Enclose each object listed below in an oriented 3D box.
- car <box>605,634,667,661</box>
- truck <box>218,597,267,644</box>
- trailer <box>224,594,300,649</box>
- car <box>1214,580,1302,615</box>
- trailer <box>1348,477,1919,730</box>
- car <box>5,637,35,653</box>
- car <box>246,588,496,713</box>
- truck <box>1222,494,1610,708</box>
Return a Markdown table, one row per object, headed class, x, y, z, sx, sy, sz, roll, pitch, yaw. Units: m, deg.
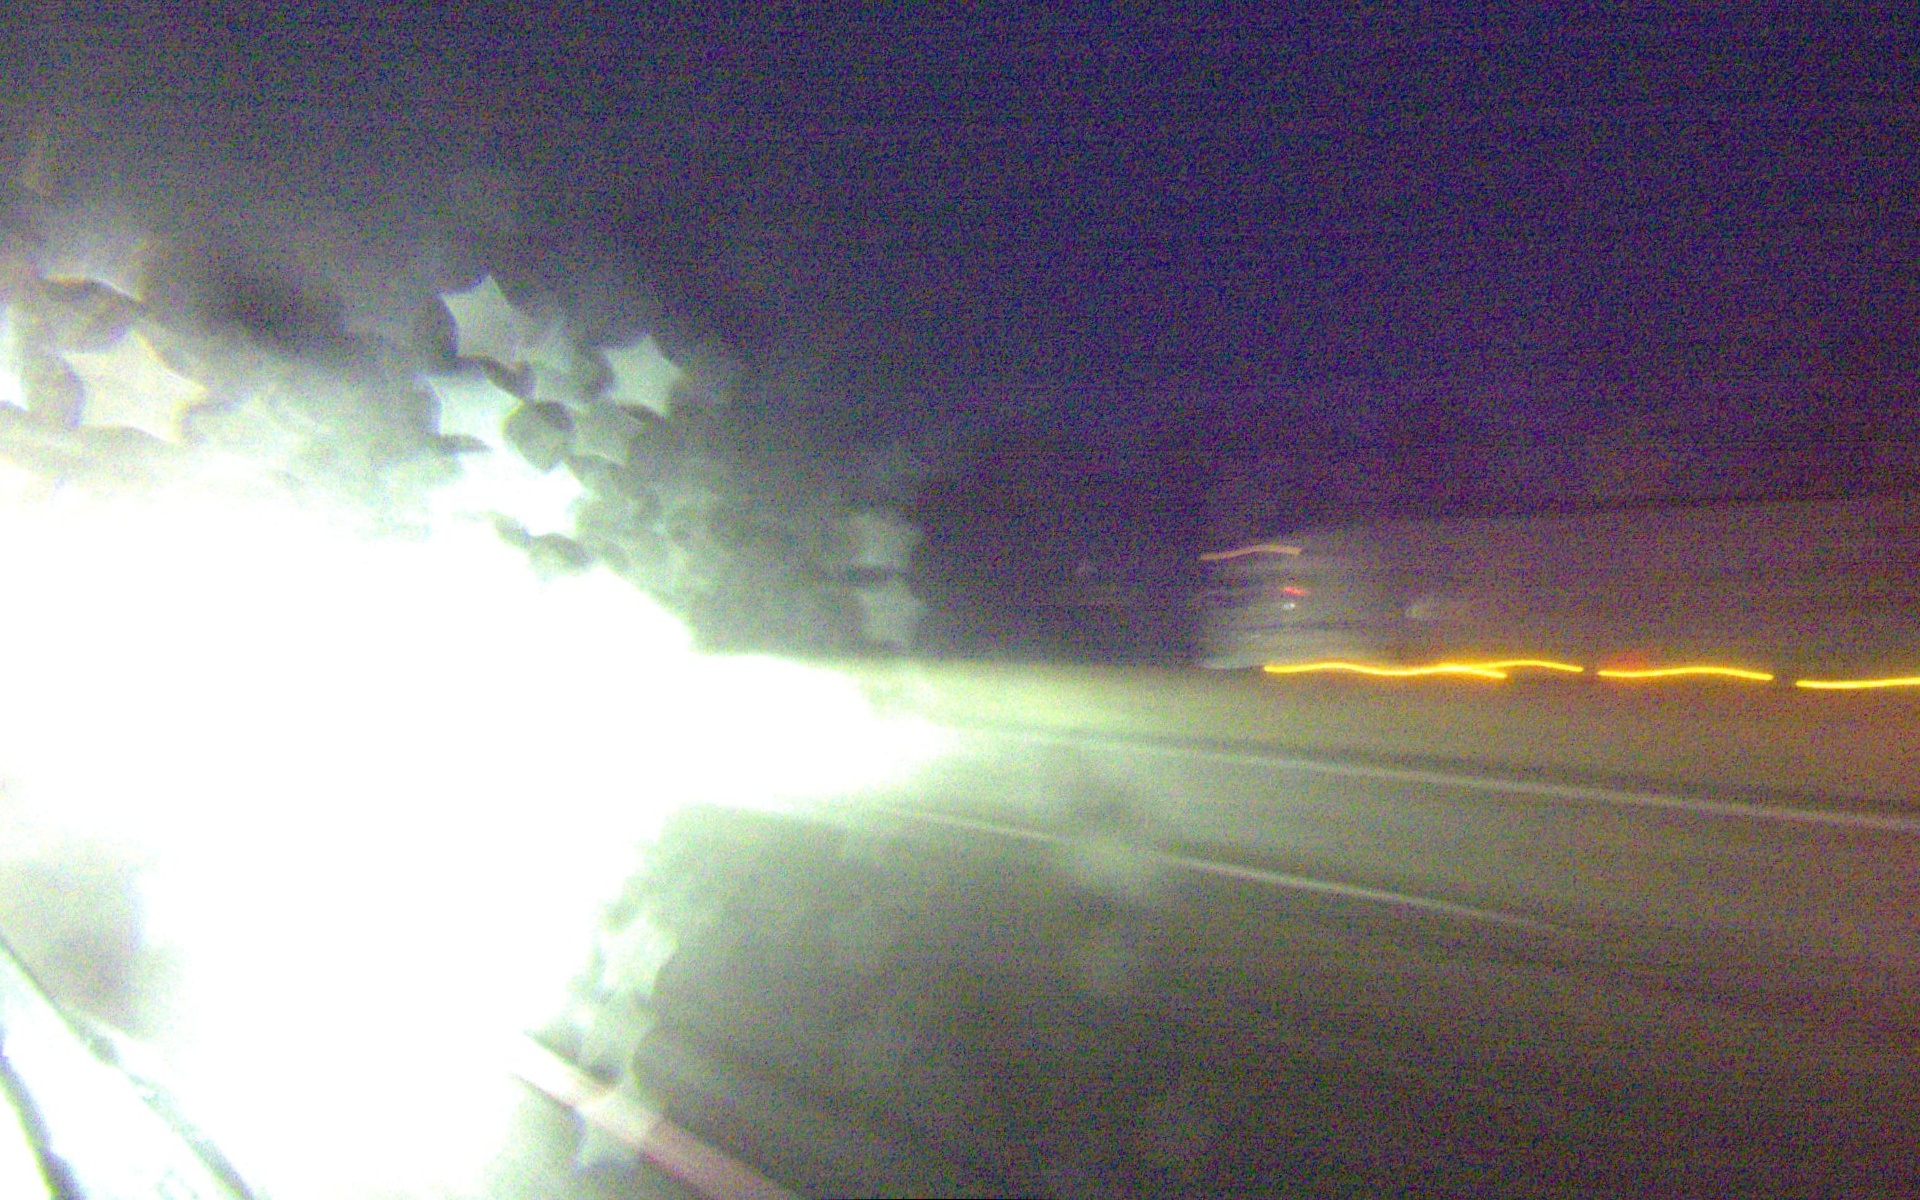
| class | x | y | z | sx | sy | sz | roll | pitch | yaw |
| --- | --- | --- | --- | --- | --- | --- | --- | --- | --- |
| car | -17.830 | 2.600 | 55.580 | 3.702 | 1.309 | 1.597 | 1 | -3 | 43 |
| truck | -68.047 | 1.947 | 95.954 | 5.642 | 4.187 | 2.510 | 1 | -3 | 43 |
| trailer | -63.265 | 1.816 | 91.489 | 13.918 | 4.578 | 2.521 | 1 | -3 | 43 |
| car | 16.225 | -0.133 | 55.203 | 1.765 | 1.801 | 4.274 | -2 | 0 | -43 |
| trailer | 14.626 | 0.104 | 18.463 | 13.925 | 4.028 | 2.783 | 1 | -3 | 41 |
| car | -78.202 | 3.766 | 84.229 | 1.686 | 1.304 | 3.995 | 4 | -5 | -42 |
| car | -10.773 | 0.823 | 18.298 | 5.552 | 1.898 | 2.115 | 1 | -3 | 41 |
| truck | 9.934 | 0.051 | 22.591 | 7.346 | 4.036 | 2.783 | 1 | -3 | 41 |
